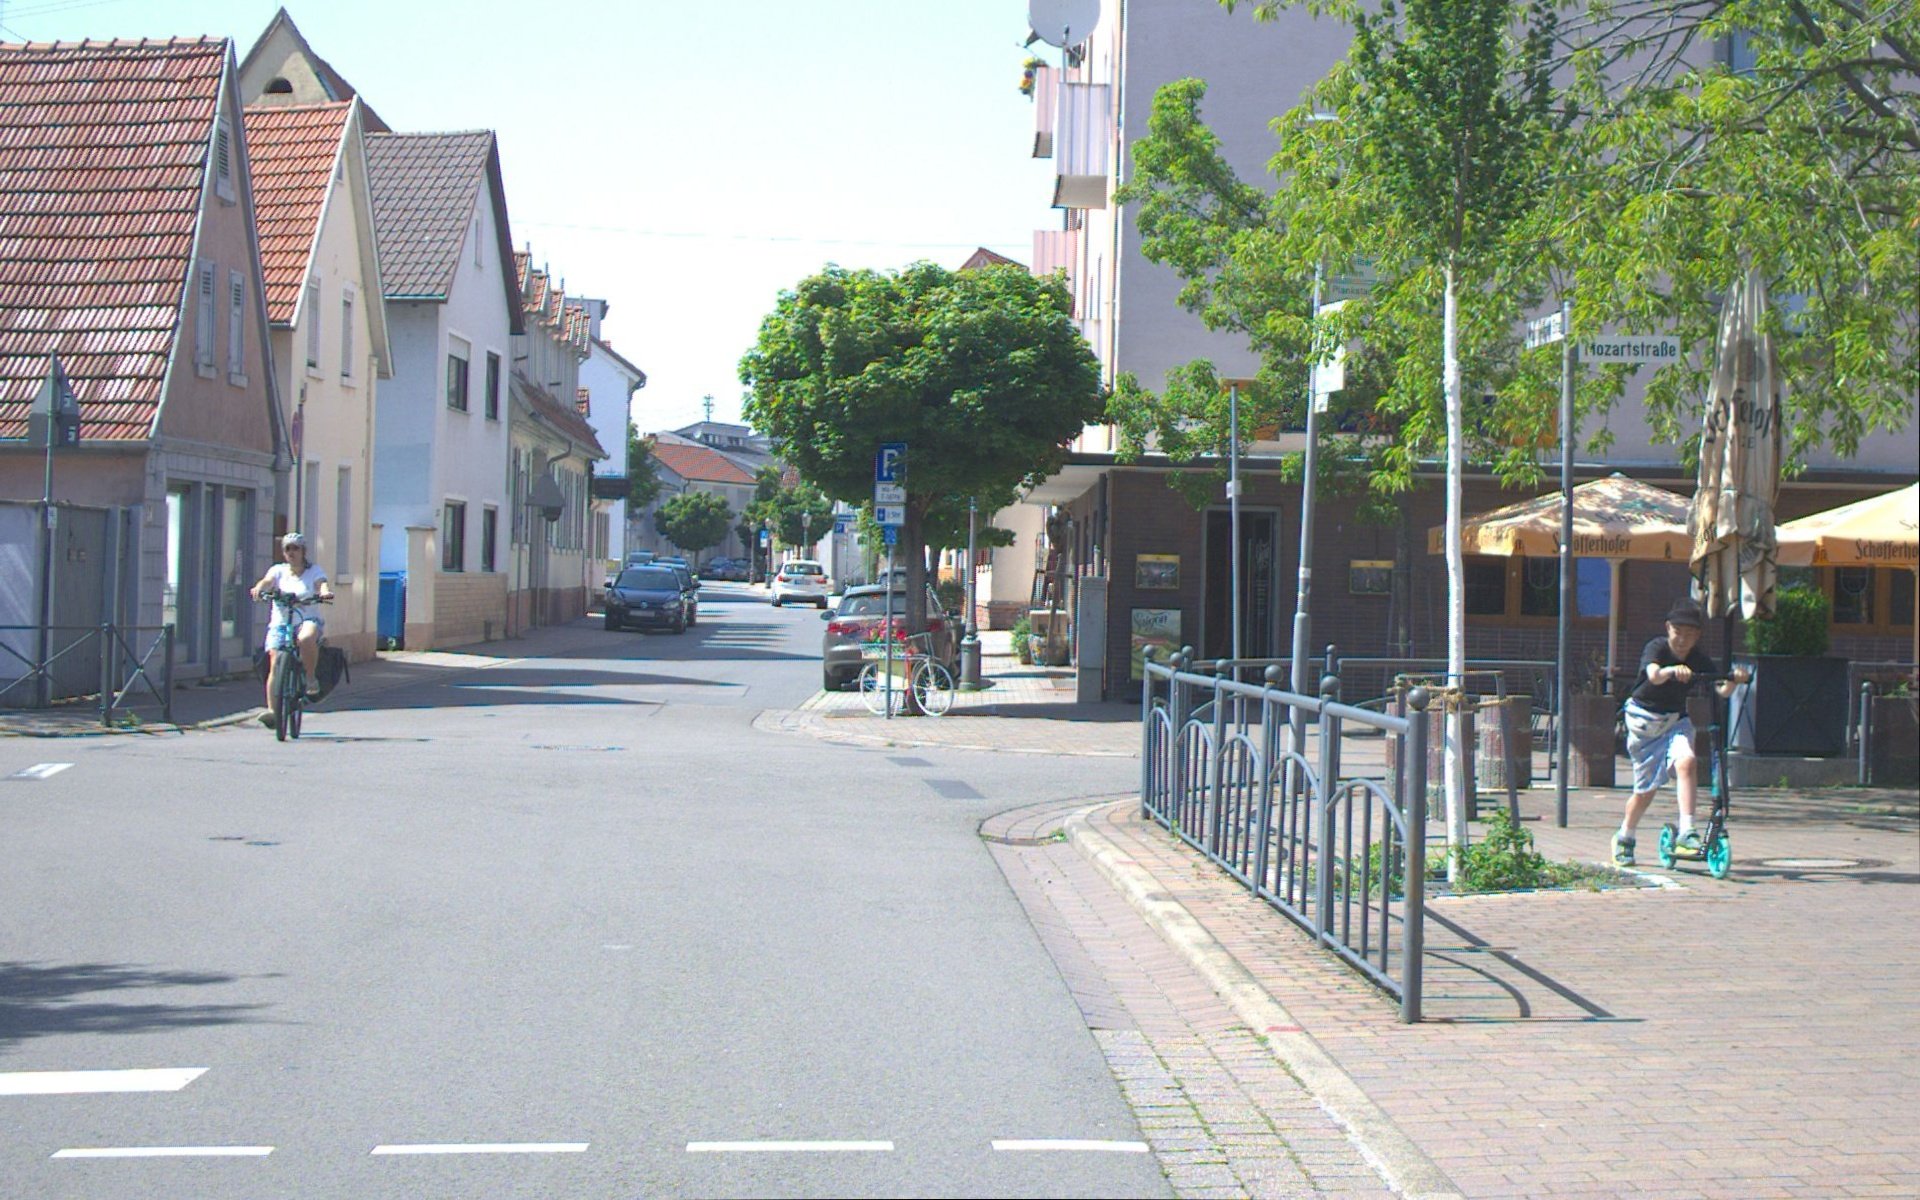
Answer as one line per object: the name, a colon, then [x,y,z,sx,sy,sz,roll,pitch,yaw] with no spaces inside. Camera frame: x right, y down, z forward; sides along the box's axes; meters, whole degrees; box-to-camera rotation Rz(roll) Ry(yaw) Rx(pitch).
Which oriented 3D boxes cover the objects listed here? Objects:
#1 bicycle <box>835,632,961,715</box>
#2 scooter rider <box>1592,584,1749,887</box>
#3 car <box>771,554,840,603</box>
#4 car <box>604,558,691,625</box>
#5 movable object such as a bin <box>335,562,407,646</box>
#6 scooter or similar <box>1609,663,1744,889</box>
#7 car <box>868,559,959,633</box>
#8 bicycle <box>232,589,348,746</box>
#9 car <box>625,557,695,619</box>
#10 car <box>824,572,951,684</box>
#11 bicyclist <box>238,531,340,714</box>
bicycle: [-0.701,0.813,38.576,1.412,0.894,0.464,0,1,36]
scooter rider: [3.229,0.592,15.680,0.461,1.320,1.133,1,0,0]
car: [-5.278,-0.735,117.018,2.026,1.592,4.510,1,1,-6]
car: [-7.082,-0.210,78.191,1.663,1.471,4.135,1,1,-1]
movable object such as a bin: [-9.729,0.069,56.771,1.102,1.361,0.390,1,0,3]
scooter or similar: [3.244,0.783,15.605,0.411,0.962,0.960,1,0,1]
car: [-1.084,-0.115,81.058,2.043,1.683,4.842,1,1,-1]
bicycle: [-5.616,0.547,28.913,0.708,1.248,1.972,1,1,-4]
car: [-7.388,-0.312,84.745,1.663,1.471,3.451,1,1,-4]
car: [-0.959,0.359,47.191,1.576,1.449,3.486,1,0,1]
bicyclist: [-5.609,0.184,28.784,0.714,1.501,0.871,1,0,-4]
